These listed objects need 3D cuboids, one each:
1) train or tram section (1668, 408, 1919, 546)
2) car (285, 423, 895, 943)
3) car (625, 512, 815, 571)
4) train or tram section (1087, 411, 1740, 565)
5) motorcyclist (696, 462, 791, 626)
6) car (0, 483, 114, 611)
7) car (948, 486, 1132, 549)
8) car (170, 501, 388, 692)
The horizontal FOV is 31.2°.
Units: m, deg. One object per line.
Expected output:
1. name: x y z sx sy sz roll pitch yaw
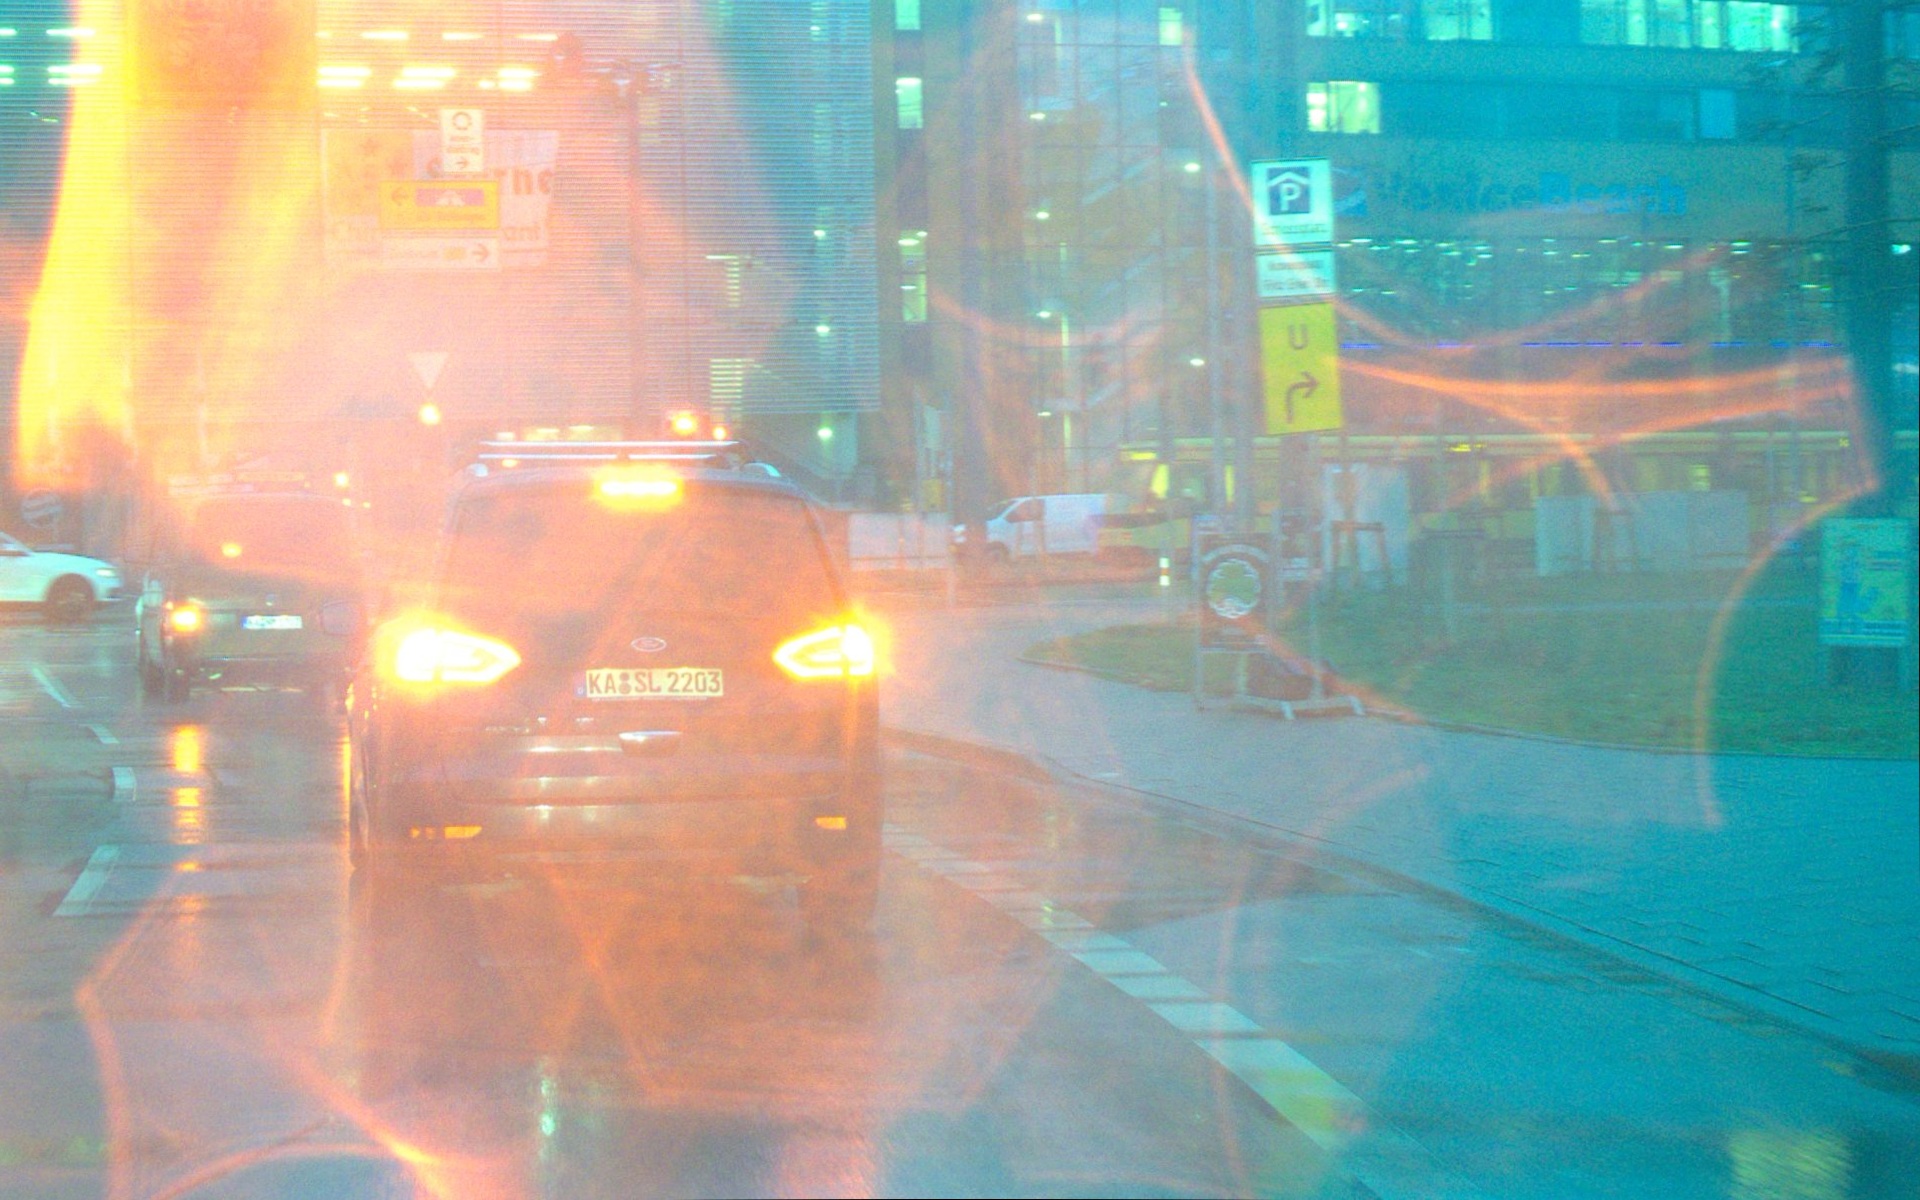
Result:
1. train or tram section: 23.645 -3.140 86.237 12.956 3.249 2.337 -2 1 -28
2. car: -1.639 0.246 13.720 1.734 1.732 4.248 1 1 -15
3. car: -6.043 -1.478 86.609 4.418 1.385 1.800 -2 1 -20
4. train or tram section: 10.760 -2.657 79.485 16.603 3.249 2.337 -2 1 -28
5. motorcyclist: -2.090 -0.541 33.069 0.868 1.529 1.108 -1 1 -5
6. car: -15.942 -0.881 55.238 4.354 2.007 2.001 1 1 -19
7. car: 2.063 -2.121 88.891 4.418 1.589 1.800 0 1 -18
8. car: -6.478 -0.061 32.471 1.635 1.691 3.672 0 1 -17
